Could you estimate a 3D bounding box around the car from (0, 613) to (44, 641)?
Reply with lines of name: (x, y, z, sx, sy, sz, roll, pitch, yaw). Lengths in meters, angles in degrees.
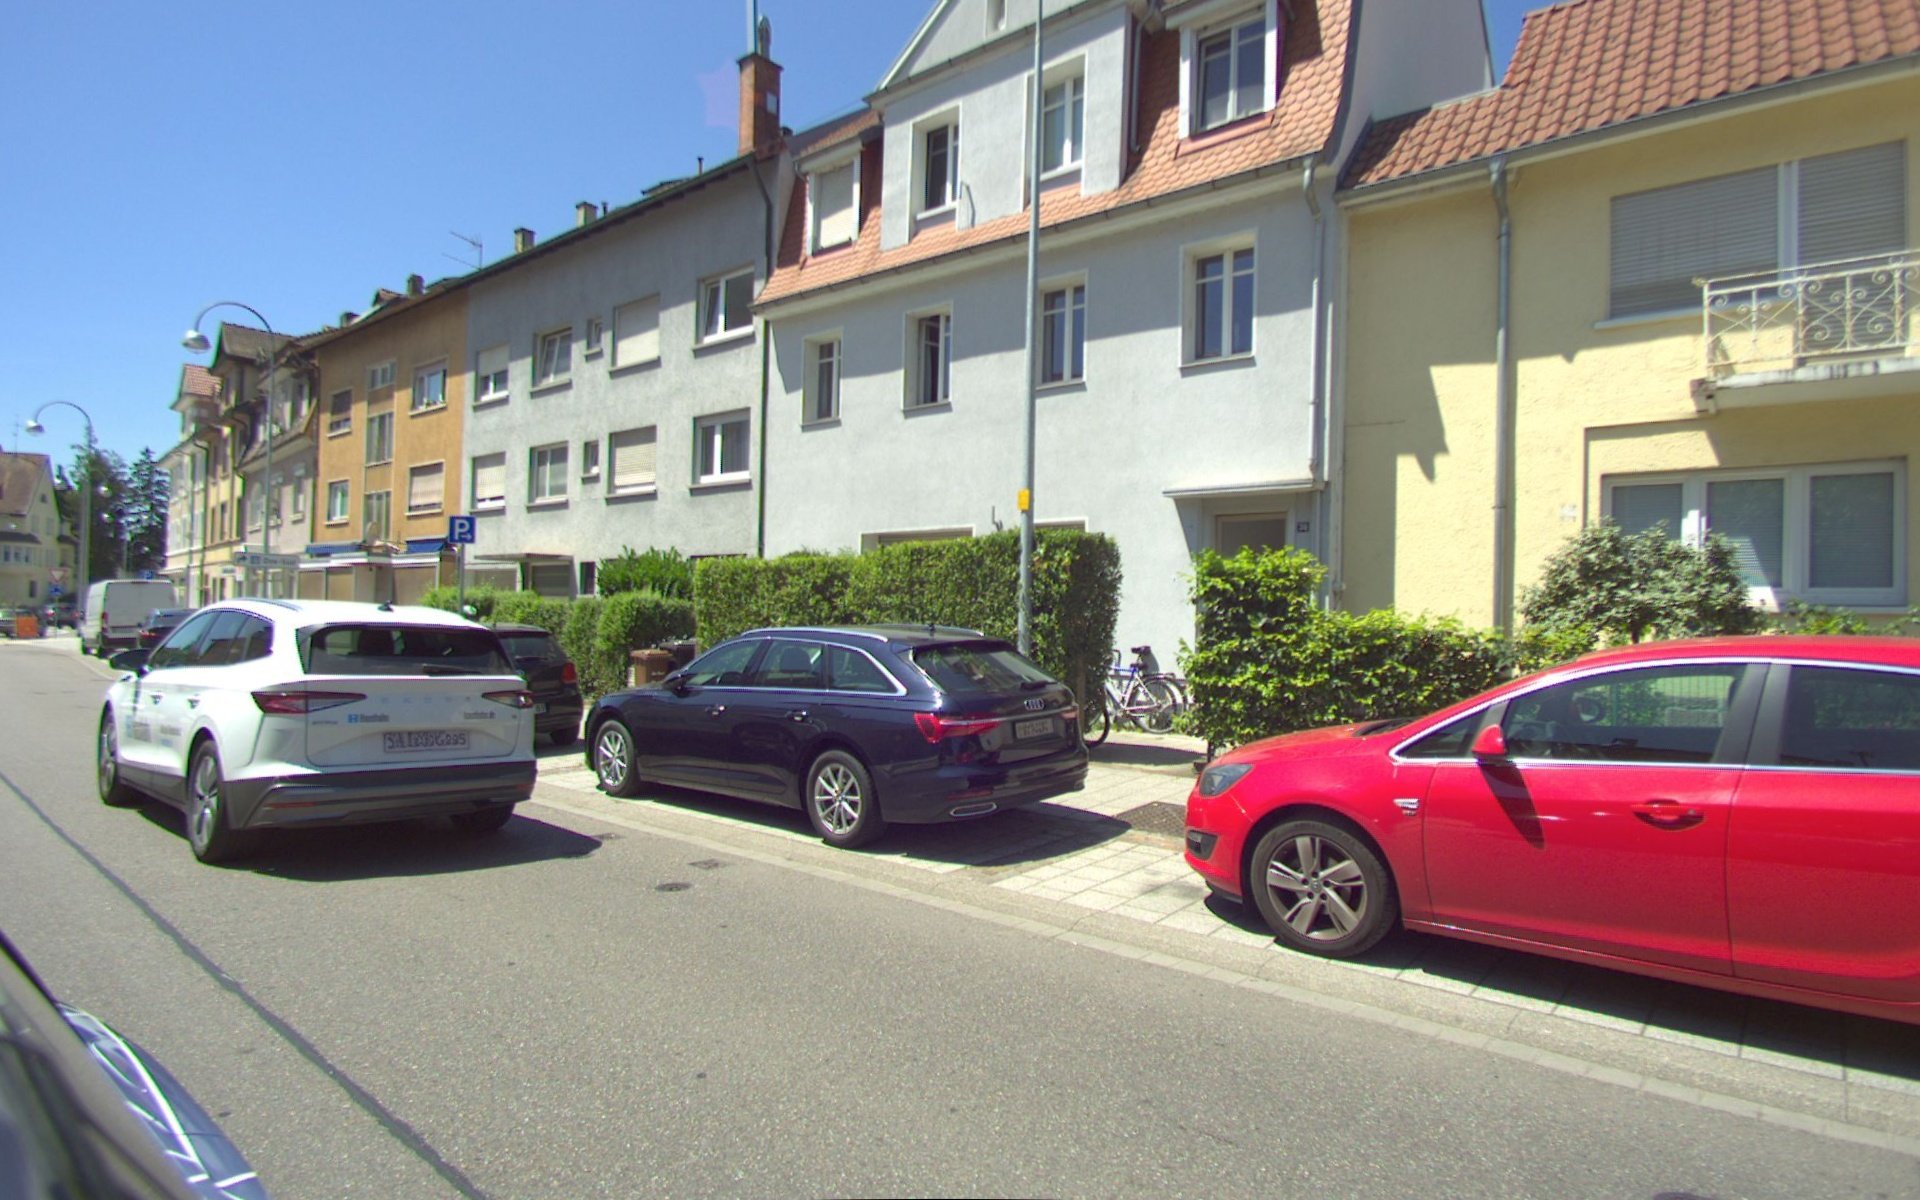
car: (-50.174, 1.428, 53.299, 1.707, 1.422, 4.013, 4, -4, -26)

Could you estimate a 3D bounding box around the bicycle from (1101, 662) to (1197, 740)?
bicycle: (2.334, 1.231, 12.554, 1.169, 0.860, 0.289, 1, -1, 40)

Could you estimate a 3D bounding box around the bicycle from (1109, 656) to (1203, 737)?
bicycle: (2.442, 1.193, 12.686, 1.163, 0.914, 0.230, 1, -1, 40)

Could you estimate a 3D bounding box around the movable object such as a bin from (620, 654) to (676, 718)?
movable object such as a bin: (-4.701, 1.288, 15.239, 0.705, 0.919, 0.489, -1, -3, 41)

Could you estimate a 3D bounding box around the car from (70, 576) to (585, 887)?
car: (-4.776, 0.751, 7.381, 4.356, 1.609, 1.858, -1, -4, 40)

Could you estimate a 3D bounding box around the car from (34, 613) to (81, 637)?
car: (-61.426, 1.668, 68.858, 4.387, 1.500, 1.777, 1, 0, 40)

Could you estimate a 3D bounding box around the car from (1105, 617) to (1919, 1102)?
car: (3.136, 0.843, 4.361, 4.736, 1.491, 1.858, -1, 0, 41)

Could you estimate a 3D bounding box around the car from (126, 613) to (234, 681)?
car: (-20.652, 1.172, 26.715, 2.059, 1.627, 5.117, 1, -2, -40)

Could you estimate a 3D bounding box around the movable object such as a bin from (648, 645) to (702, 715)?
movable object such as a bin: (-4.396, 1.215, 15.595, 0.705, 1.038, 0.462, -1, -3, 41)

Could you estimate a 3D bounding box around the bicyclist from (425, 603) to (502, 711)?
bicyclist: (-7.989, 0.906, 16.291, 0.834, 1.672, 0.774, 0, -3, 39)

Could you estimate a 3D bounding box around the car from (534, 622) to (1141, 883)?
car: (-1.312, 0.938, 8.263, 5.304, 1.473, 1.844, -1, -1, 41)

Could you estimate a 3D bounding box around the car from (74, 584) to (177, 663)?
car: (-28.589, 0.758, 34.569, 6.120, 2.468, 2.095, -1, -1, 45)
